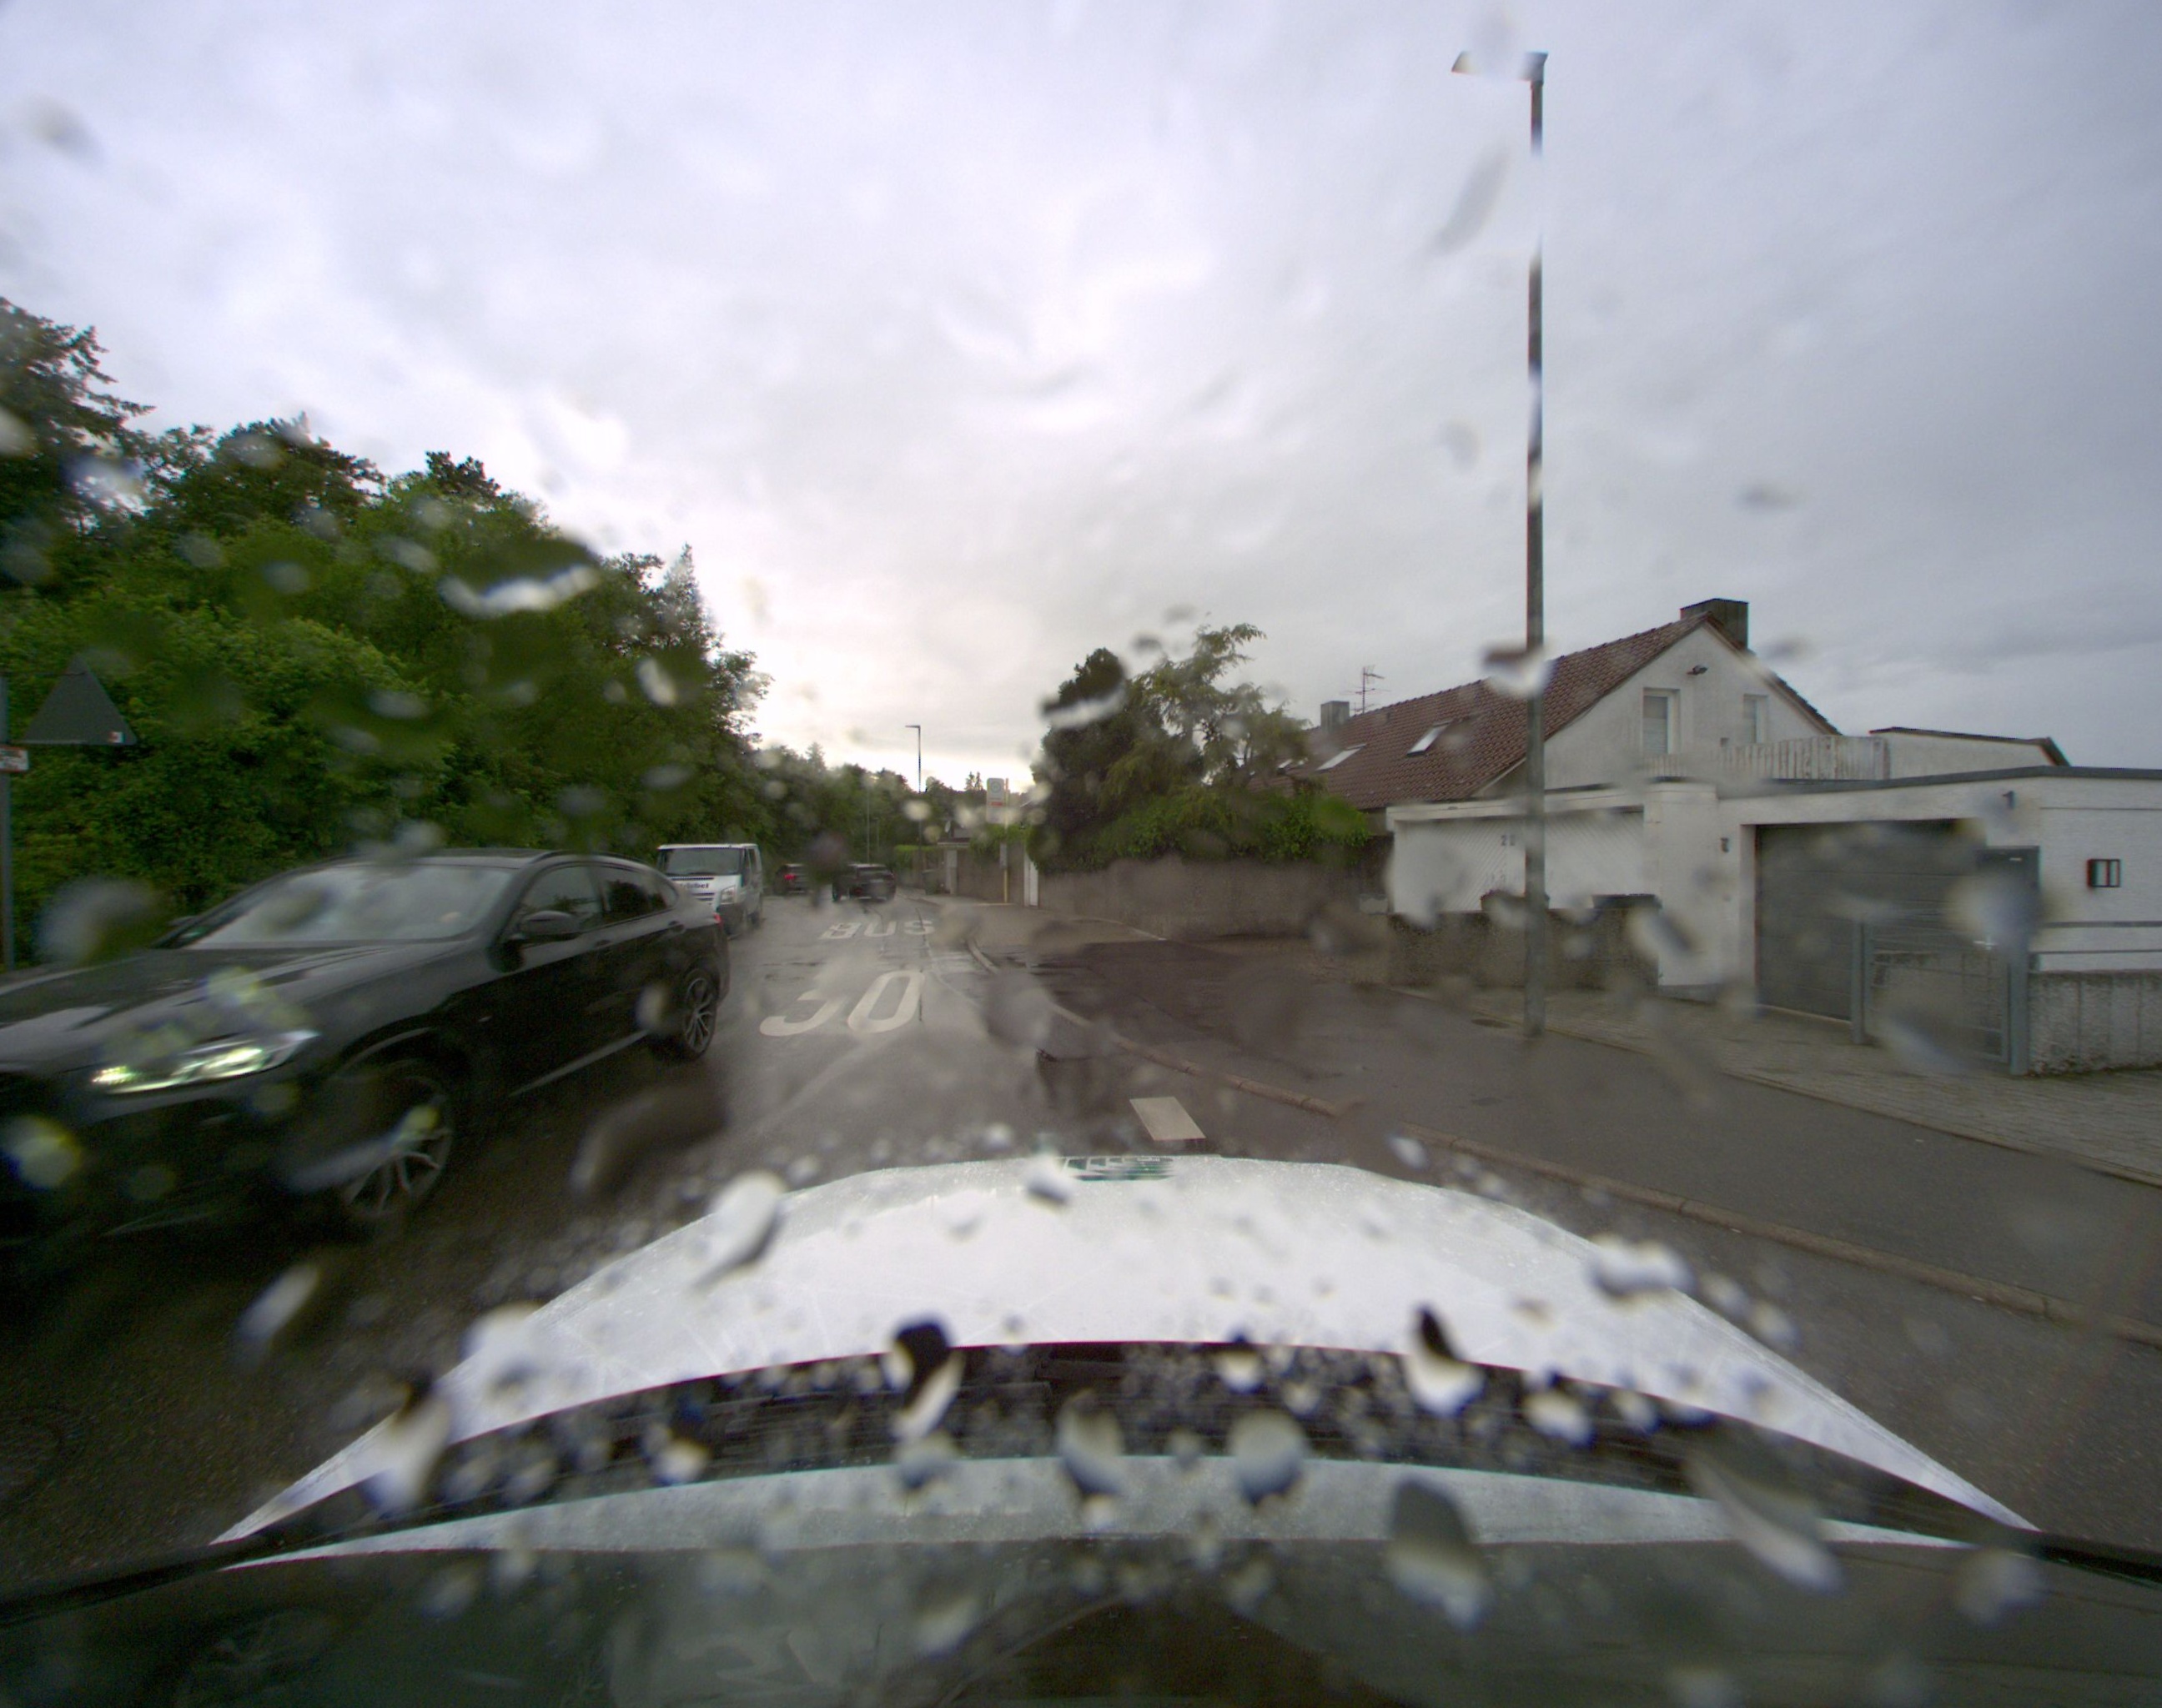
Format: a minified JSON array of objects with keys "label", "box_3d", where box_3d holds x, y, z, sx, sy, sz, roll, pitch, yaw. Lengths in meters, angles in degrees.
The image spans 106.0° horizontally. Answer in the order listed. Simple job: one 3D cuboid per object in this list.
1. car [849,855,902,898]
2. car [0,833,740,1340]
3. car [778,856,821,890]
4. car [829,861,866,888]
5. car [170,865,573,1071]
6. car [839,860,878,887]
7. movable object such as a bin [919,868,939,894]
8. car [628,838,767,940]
[{"label":"car","box_3d":[-8.192,0.960,32.247,1.872,1.513,4.069,1,-5,-16]},{"label":"car","box_3d":[-3.818,0.762,4.759,1.925,1.605,4.339,-1,0,-2]},{"label":"car","box_3d":[-14.367,0.930,41.429,2.001,1.605,4.378,0,0,-21]},{"label":"car","box_3d":[-14.621,1.255,50.874,1.882,1.592,4.449,-1,0,-20]},{"label":"car","box_3d":[-6.419,0.893,7.821,1.602,1.511,2.932,-1,0,-10]},{"label":"car","box_3d":[-12.455,1.048,45.376,1.762,1.462,4.272,0,0,-20]},{"label":"movable object such as a bin","box_3d":[-6.578,1.161,35.244,0.741,1.088,0.596,-3,1,-17]},{"label":"car","box_3d":[-8.635,0.694,18.848,2.116,1.974,5.143,-1,0,-17]}]
